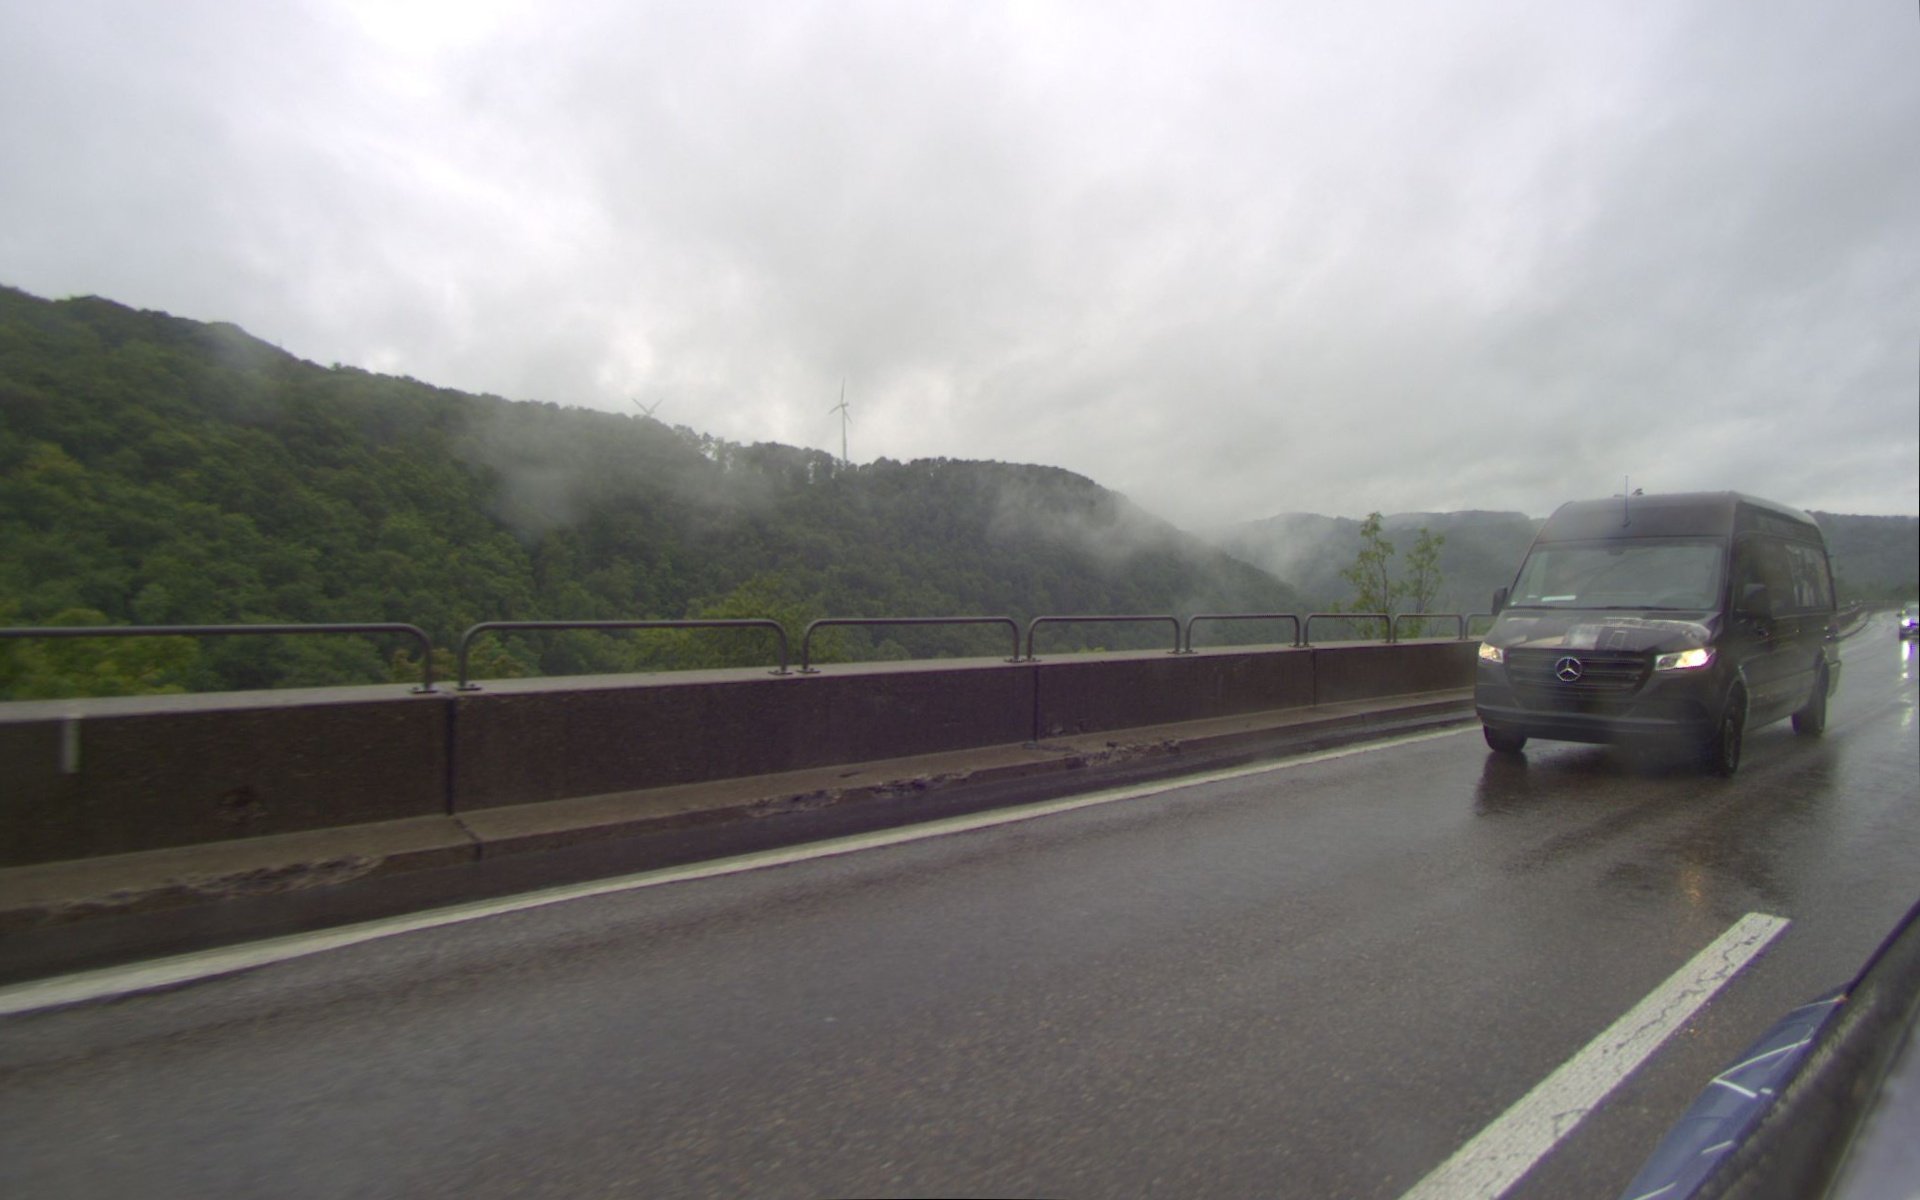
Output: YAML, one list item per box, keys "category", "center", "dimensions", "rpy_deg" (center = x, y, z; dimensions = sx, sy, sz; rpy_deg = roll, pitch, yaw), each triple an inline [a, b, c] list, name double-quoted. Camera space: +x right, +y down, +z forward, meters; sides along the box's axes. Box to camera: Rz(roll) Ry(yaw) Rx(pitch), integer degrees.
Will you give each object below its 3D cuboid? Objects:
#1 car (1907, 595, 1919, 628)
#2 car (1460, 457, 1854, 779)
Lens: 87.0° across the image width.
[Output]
- category: "car"
  center: [43.399, 0.491, 44.792]
  dimensions: [4.489, 1.433, 1.987]
  rpy_deg: [0, 1, -44]
- category: "car"
  center: [7.772, 0.120, 10.883]
  dimensions: [6.589, 2.526, 1.996]
  rpy_deg: [0, 0, -42]
